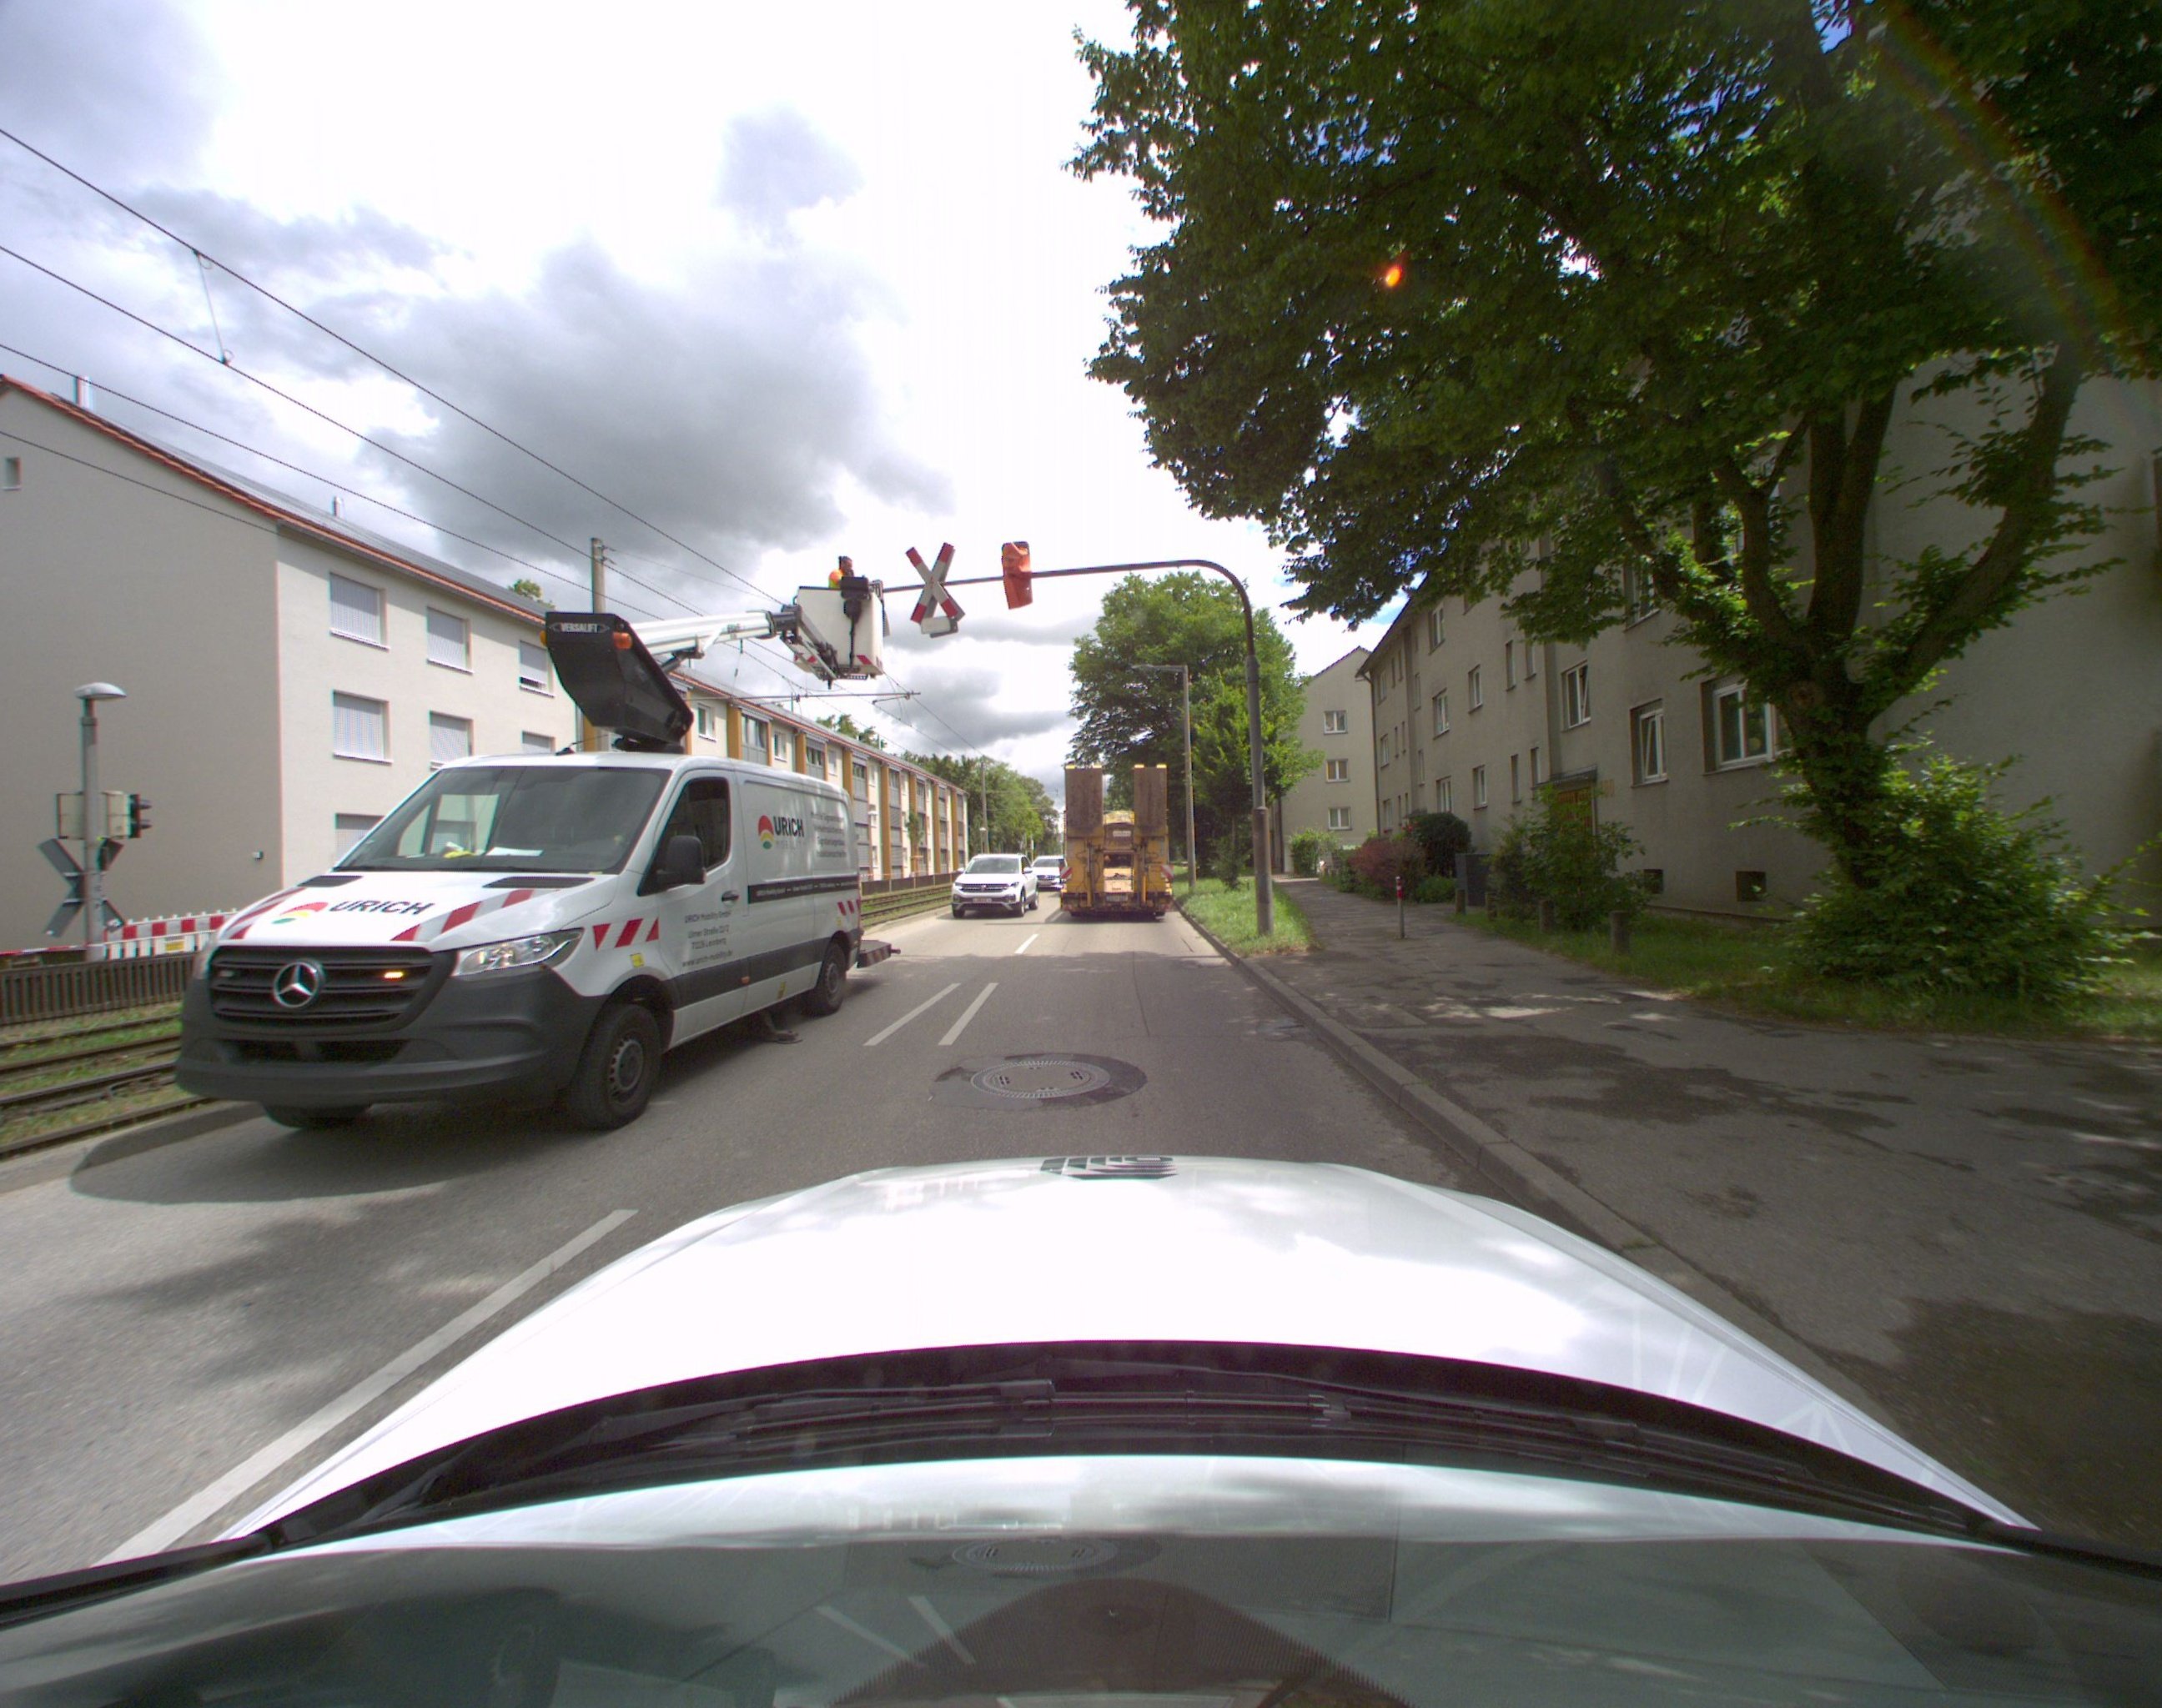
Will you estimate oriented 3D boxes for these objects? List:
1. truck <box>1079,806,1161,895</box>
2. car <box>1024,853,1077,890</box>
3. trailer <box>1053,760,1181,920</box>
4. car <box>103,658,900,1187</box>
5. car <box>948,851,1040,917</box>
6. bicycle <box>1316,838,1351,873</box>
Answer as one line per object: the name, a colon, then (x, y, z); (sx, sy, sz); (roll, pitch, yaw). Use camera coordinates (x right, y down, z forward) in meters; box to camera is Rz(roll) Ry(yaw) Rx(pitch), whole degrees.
truck: (1.639, -0.131, 32.831); (2.904, 3.167, 7.688); (0, 0, 4)
car: (-1.254, 0.725, 35.540); (1.871, 1.481, 4.533); (0, 0, 3)
trailer: (1.084, -0.315, 23.492); (2.811, 3.524, 11.060); (0, 0, 3)
car: (-3.407, 0.316, 6.936); (1.985, 2.430, 6.326); (-1, 0, 3)
car: (-2.160, 0.725, 21.285); (1.710, 1.552, 3.921); (-1, 0, 4)
bicycle: (11.913, 0.057, 38.436); (1.340, 1.574, 1.073); (-2, 0, 6)
